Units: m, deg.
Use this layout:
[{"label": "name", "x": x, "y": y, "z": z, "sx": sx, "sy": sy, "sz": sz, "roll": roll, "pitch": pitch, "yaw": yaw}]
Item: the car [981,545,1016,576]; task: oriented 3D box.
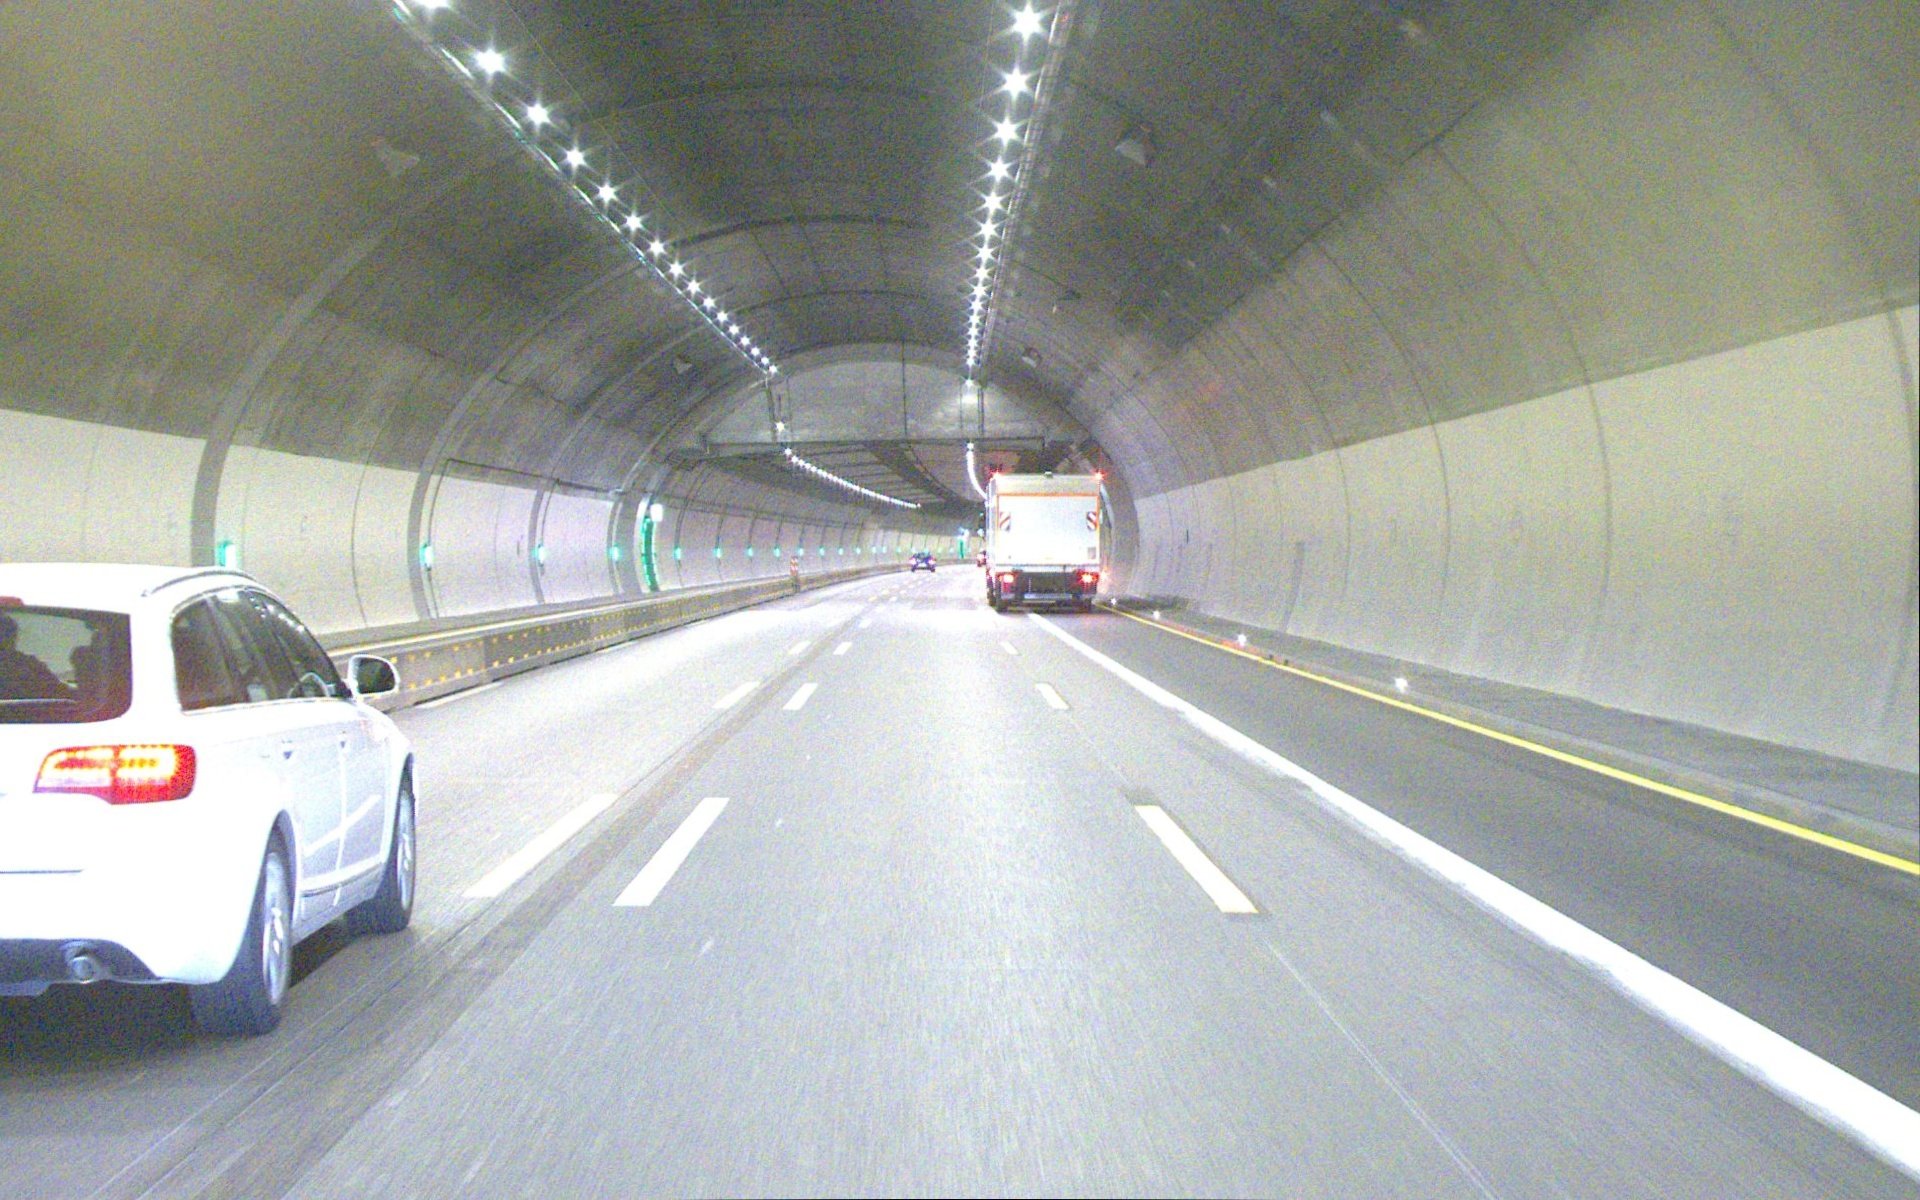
[{"label": "car", "x": 1.978, "y": -2.037, "z": 177.495, "sx": 1.739, "sy": 1.456, "sz": 3.960, "roll": -2, "pitch": 2, "yaw": 1}]

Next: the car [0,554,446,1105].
[{"label": "car", "x": -3.024, "y": 0.589, "z": 11.687, "sx": 1.903, "sy": 1.480, "sz": 4.944, "roll": 0, "pitch": 1, "yaw": -1}]

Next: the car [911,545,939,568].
[{"label": "car", "x": -2.370, "y": -2.959, "z": 233.627, "sx": 1.758, "sy": 1.456, "sz": 4.119, "roll": -2, "pitch": 2, "yaw": 0}]

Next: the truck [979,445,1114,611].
[{"label": "truck", "x": 2.106, "y": -1.753, "z": 87.746, "sx": 3.092, "sy": 3.904, "sz": 10.368, "roll": -1, "pitch": 0, "yaw": 0}]
